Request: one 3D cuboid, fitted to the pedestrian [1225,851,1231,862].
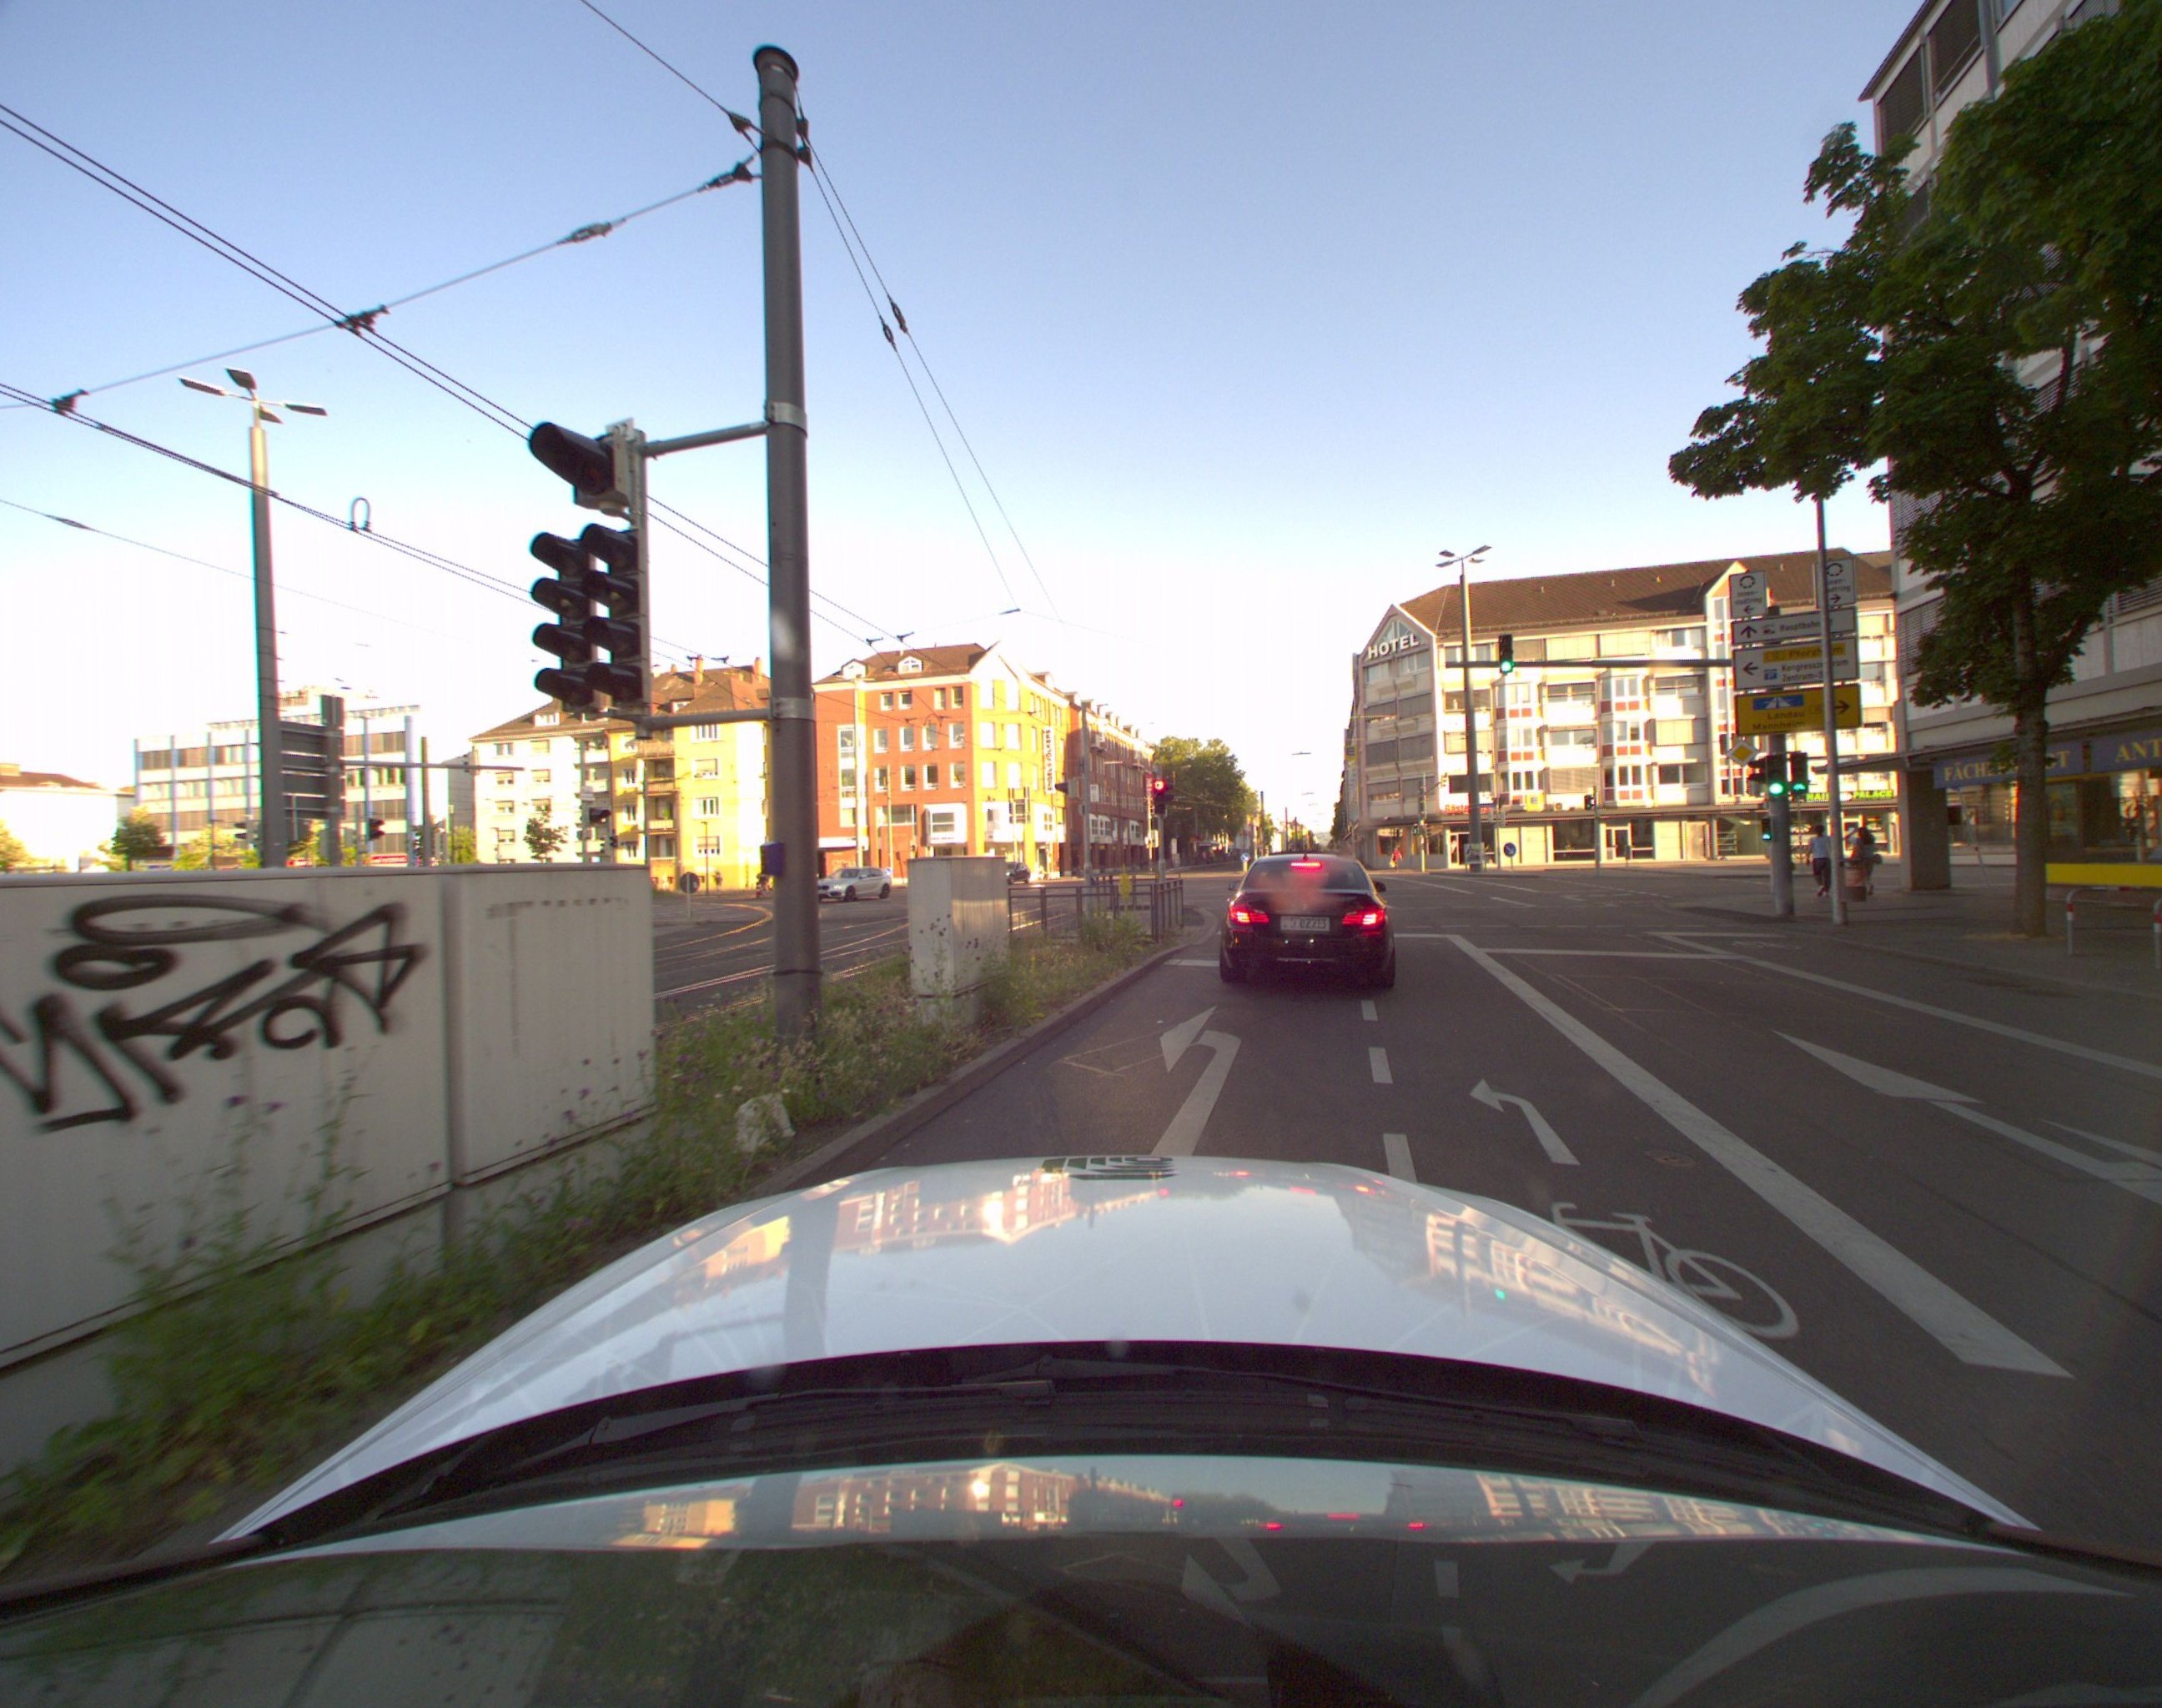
[{"bbox_3d":[22.023,0.353,122.146,0.717,1.681,0.996,-2,0,19],"label":"pedestrian"}]

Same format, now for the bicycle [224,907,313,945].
[{"bbox_3d":[-25.658,2.257,25.724,1.993,1.060,0.896,-2,0,6],"label":"bicycle"}]

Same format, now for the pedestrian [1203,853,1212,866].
[{"bbox_3d":[16.038,0.702,103.596,0.980,1.681,0.729,-2,-1,16],"label":"pedestrian"}]

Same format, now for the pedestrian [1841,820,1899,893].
[{"bbox_3d":[18.533,0.065,19.147,0.717,1.667,0.674,-2,-1,20],"label":"pedestrian"}]

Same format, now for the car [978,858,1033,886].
[{"bbox_3d":[-4.711,1.099,51.767,1.979,1.585,4.497,-2,0,15],"label":"car"}]

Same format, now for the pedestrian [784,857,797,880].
[{"bbox_3d":[-23.841,1.182,66.858,0.803,1.868,0.662,0,0,-5],"label":"pedestrian"}]

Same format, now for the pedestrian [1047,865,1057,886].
[{"bbox_3d":[-2.604,1.900,73.608,0.626,1.868,0.683,0,0,43],"label":"pedestrian"}]

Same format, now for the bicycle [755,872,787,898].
[{"bbox_3d":[-16.825,1.660,44.229,0.613,1.325,2.023,0,0,13],"label":"bicycle"}]

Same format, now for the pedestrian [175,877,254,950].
[{"bbox_3d":[-24.552,1.671,23.097,1.094,1.944,1.024,-2,0,-2],"label":"pedestrian"}]

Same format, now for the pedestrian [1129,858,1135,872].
[{"bbox_3d":[6.232,1.342,99.450,0.482,1.681,0.658,-2,-1,21],"label":"pedestrian"}]

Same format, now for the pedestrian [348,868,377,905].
[{"bbox_3d":[-37.630,1.683,42.667,0.717,1.868,0.884,-2,0,-3],"label":"pedestrian"}]

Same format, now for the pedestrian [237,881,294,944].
[{"bbox_3d":[-25.772,1.832,25.752,0.839,1.910,0.896,-2,0,6],"label":"pedestrian"}]

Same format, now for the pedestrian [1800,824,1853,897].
[{"bbox_3d":[17.564,0.156,19.209,0.678,1.667,0.674,-2,-1,20],"label":"pedestrian"}]

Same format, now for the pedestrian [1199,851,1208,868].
[{"bbox_3d":[14.786,0.646,98.433,0.980,2.013,0.729,0,0,16],"label":"pedestrian"}]

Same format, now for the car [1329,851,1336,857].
[{"bbox_3d":[58.915,-0.026,190.992,1.461,1.515,3.109,-2,0,16],"label":"car"}]

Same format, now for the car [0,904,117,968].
[{"bbox_3d":[-31.039,2.392,24.479,4.506,1.618,2.013,-2,0,32],"label":"car"}]

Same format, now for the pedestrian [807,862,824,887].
[{"bbox_3d":[-20.525,1.581,62.957,0.935,1.868,0.841,0,0,8],"label":"pedestrian"}]

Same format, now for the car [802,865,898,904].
[{"bbox_3d":[-9.603,1.237,34.195,1.655,1.448,4.223,-2,0,20],"label":"car"}]

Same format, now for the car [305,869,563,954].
[{"bbox_3d":[-14.527,1.230,18.609,1.977,1.585,4.134,-2,0,20],"label":"car"}]

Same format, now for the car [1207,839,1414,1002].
[{"bbox_3d":[2.716,0.628,10.079,1.980,1.585,4.014,0,1,13],"label":"car"}]

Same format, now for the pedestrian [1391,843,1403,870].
[{"bbox_3d":[22.183,0.186,57.166,0.679,1.854,0.673,-2,-1,13],"label":"pedestrian"}]

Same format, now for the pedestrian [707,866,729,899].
[{"bbox_3d":[-21.279,1.661,47.784,0.948,1.868,0.828,0,0,-43],"label":"pedestrian"}]

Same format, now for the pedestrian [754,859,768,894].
[{"bbox_3d":[-17.376,1.234,44.210,0.499,1.868,0.565,0,0,12],"label":"pedestrian"}]

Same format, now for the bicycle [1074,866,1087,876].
[{"bbox_3d":[-0.010,1.656,80.090,1.281,0.922,0.349,0,0,1],"label":"bicycle"}]

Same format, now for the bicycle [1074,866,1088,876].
[{"bbox_3d":[0.027,1.657,79.506,1.277,0.922,0.350,0,0,13],"label":"bicycle"}]

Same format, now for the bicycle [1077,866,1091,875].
[{"bbox_3d":[0.320,1.621,81.477,1.408,0.922,0.444,0,0,1],"label":"bicycle"}]
